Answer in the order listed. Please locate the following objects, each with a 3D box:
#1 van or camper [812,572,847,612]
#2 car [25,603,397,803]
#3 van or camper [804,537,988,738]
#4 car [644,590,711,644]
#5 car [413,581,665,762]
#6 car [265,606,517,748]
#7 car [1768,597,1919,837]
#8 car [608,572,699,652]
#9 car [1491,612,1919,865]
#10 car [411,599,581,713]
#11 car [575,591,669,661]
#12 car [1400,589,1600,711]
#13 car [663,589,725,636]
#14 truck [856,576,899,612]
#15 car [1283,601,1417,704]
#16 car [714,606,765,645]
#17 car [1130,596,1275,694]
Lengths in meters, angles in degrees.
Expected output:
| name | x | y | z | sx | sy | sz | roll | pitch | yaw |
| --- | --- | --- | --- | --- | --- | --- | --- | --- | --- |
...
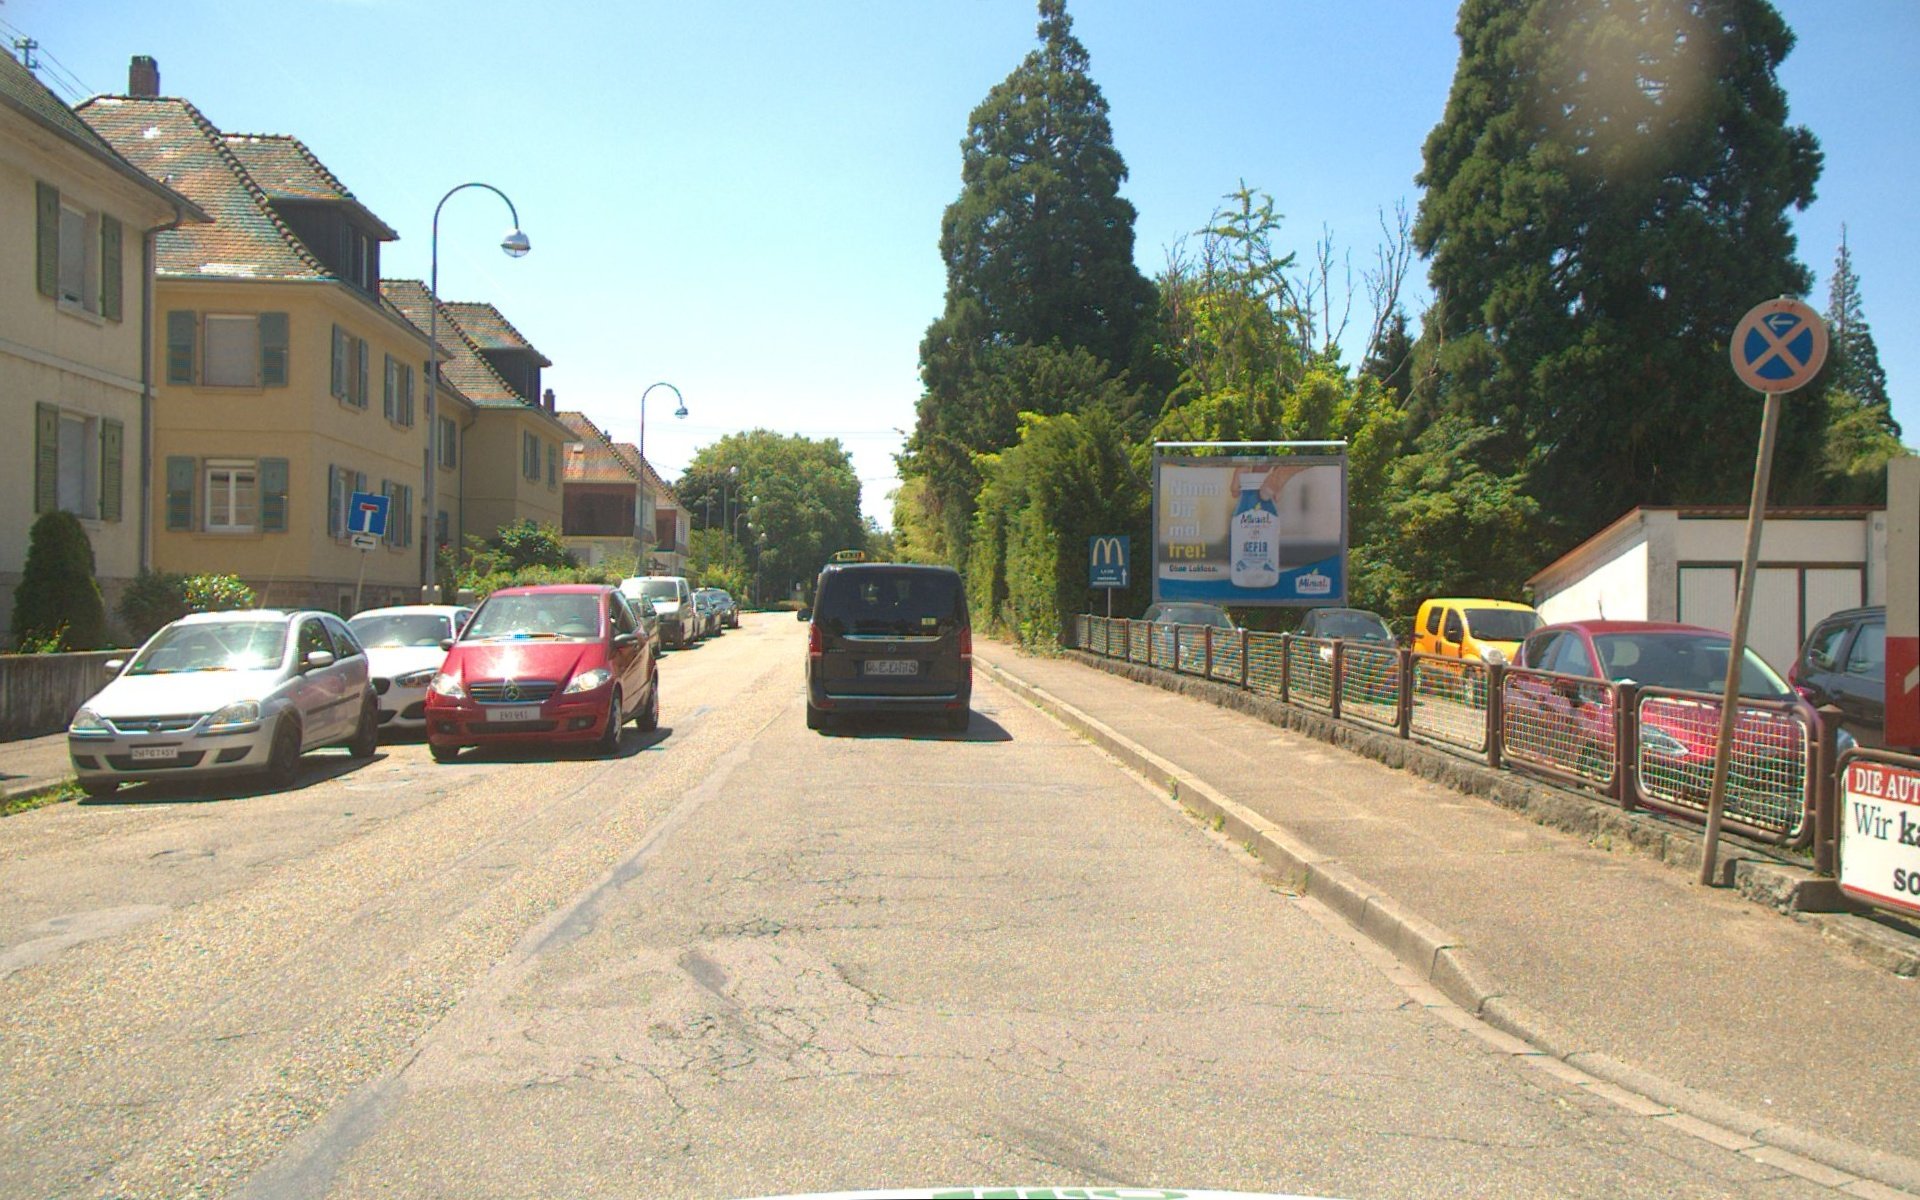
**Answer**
| name | x | y | z | sx | sy | sz | roll | pitch | yaw |
| --- | --- | --- | --- | --- | --- | --- | --- | --- | --- |
| van or camper | -8.868 | -0.506 | 111.808 | 2.219 | 2.572 | 4.753 | -1 | 0 | -6 |
| car | -6.371 | 0.789 | 14.572 | 1.725 | 1.473 | 3.920 | -1 | 0 | -5 |
| van or camper | -0.826 | 0.398 | 19.801 | 1.865 | 2.049 | 5.266 | 1 | 0 | -4 |
| car | -8.592 | 0.483 | 50.537 | 1.633 | 1.518 | 3.475 | -2 | 0 | -4 |
| car | -4.104 | 0.641 | 16.704 | 1.778 | 1.593 | 3.694 | -1 | 0 | -4 |
| car | -6.457 | 0.801 | 19.268 | 1.759 | 1.426 | 4.214 | -1 | 0 | -5 |
| car | 7.699 | 0.856 | 12.206 | 1.675 | 1.694 | 4.463 | 2 | 0 | 6 |
| car | -8.251 | 0.286 | 44.936 | 1.841 | 1.997 | 4.622 | -2 | 0 | -4 |
| car | 5.252 | 0.870 | 12.205 | 1.676 | 1.550 | 3.841 | 0 | 0 | 4 |
| car | -6.826 | 0.779 | 24.718 | 1.682 | 1.511 | 4.072 | -2 | 0 | -5 |
| car | -7.898 | 0.580 | 38.939 | 1.653 | 1.552 | 4.059 | 0 | 0 | -4 |
| car | 9.162 | 0.796 | 28.429 | 1.740 | 1.831 | 4.162 | 4 | 0 | -4 |
| car | -8.858 | 0.393 | 55.357 | 1.633 | 1.519 | 4.462 | 0 | 0 | -4 |
| truck | -5.410 | -0.382 | 107.909 | 2.311 | 2.298 | 6.081 | 0 | 0 | -7 |
| car | 6.724 | 0.881 | 28.812 | 1.597 | 1.570 | 3.393 | 4 | 0 | 3 |
| car | -8.582 | 0.971 | 64.670 | 1.633 | 1.410 | 4.377 | -1 | 0 | -3 |
| car | 4.136 | 0.734 | 28.715 | 1.600 | 1.484 | 3.552 | 4 | 0 | -6 |
